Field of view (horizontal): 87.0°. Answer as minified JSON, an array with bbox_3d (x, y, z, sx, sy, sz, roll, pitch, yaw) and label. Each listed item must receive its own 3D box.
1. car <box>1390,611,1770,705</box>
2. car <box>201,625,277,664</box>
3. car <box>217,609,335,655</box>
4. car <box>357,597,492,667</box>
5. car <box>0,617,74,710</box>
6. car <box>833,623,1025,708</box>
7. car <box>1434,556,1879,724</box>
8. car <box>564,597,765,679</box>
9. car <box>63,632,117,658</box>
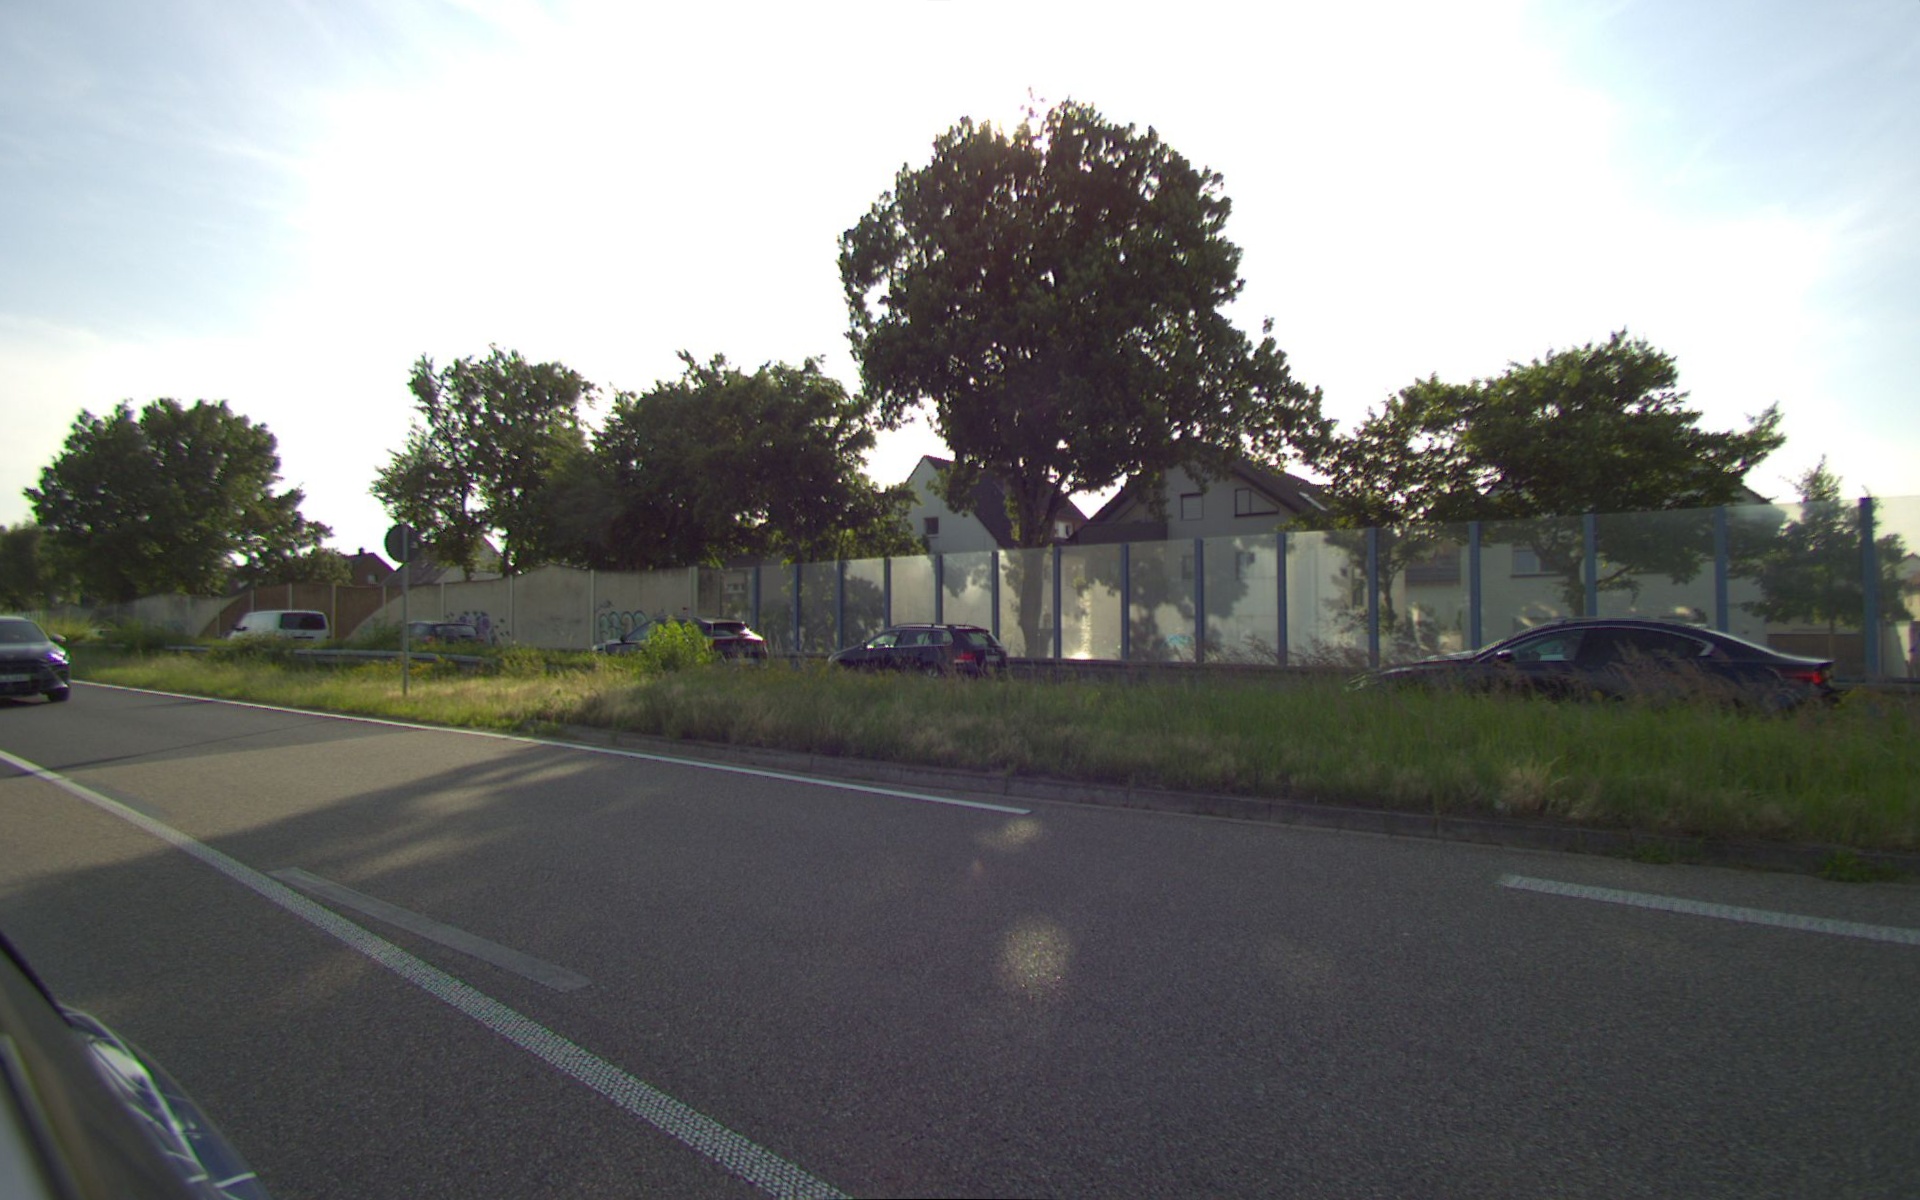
[{"bbox_3d":[8.657,0.756,14.360,4.408,1.113,1.652,-1,0,39],"label":"car"},{"bbox_3d":[-33.076,2.018,46.389,3.994,1.652,1.781,-1,0,38],"label":"car"},{"bbox_3d":[-24.359,1.123,35.963,5.052,1.495,1.963,-1,0,37],"label":"car"},{"bbox_3d":[-15.330,0.885,28.878,4.362,1.846,1.747,-1,0,38],"label":"car"},{"bbox_3d":[-17.873,1.125,18.494,4.241,1.536,1.800,-1,0,39],"label":"car"},{"bbox_3d":[-0.725,1.349,21.946,3.995,1.630,1.718,-1,0,38],"label":"car"},{"bbox_3d":[7.069,0.369,10.538,3.564,1.453,1.632,-1,0,39],"label":"car"},{"bbox_3d":[-6.092,0.736,20.588,4.652,1.476,1.500,-1,0,38],"label":"car"},{"bbox_3d":[-53.527,2.734,62.230,3.993,1.453,1.738,-1,0,37],"label":"car"}]
